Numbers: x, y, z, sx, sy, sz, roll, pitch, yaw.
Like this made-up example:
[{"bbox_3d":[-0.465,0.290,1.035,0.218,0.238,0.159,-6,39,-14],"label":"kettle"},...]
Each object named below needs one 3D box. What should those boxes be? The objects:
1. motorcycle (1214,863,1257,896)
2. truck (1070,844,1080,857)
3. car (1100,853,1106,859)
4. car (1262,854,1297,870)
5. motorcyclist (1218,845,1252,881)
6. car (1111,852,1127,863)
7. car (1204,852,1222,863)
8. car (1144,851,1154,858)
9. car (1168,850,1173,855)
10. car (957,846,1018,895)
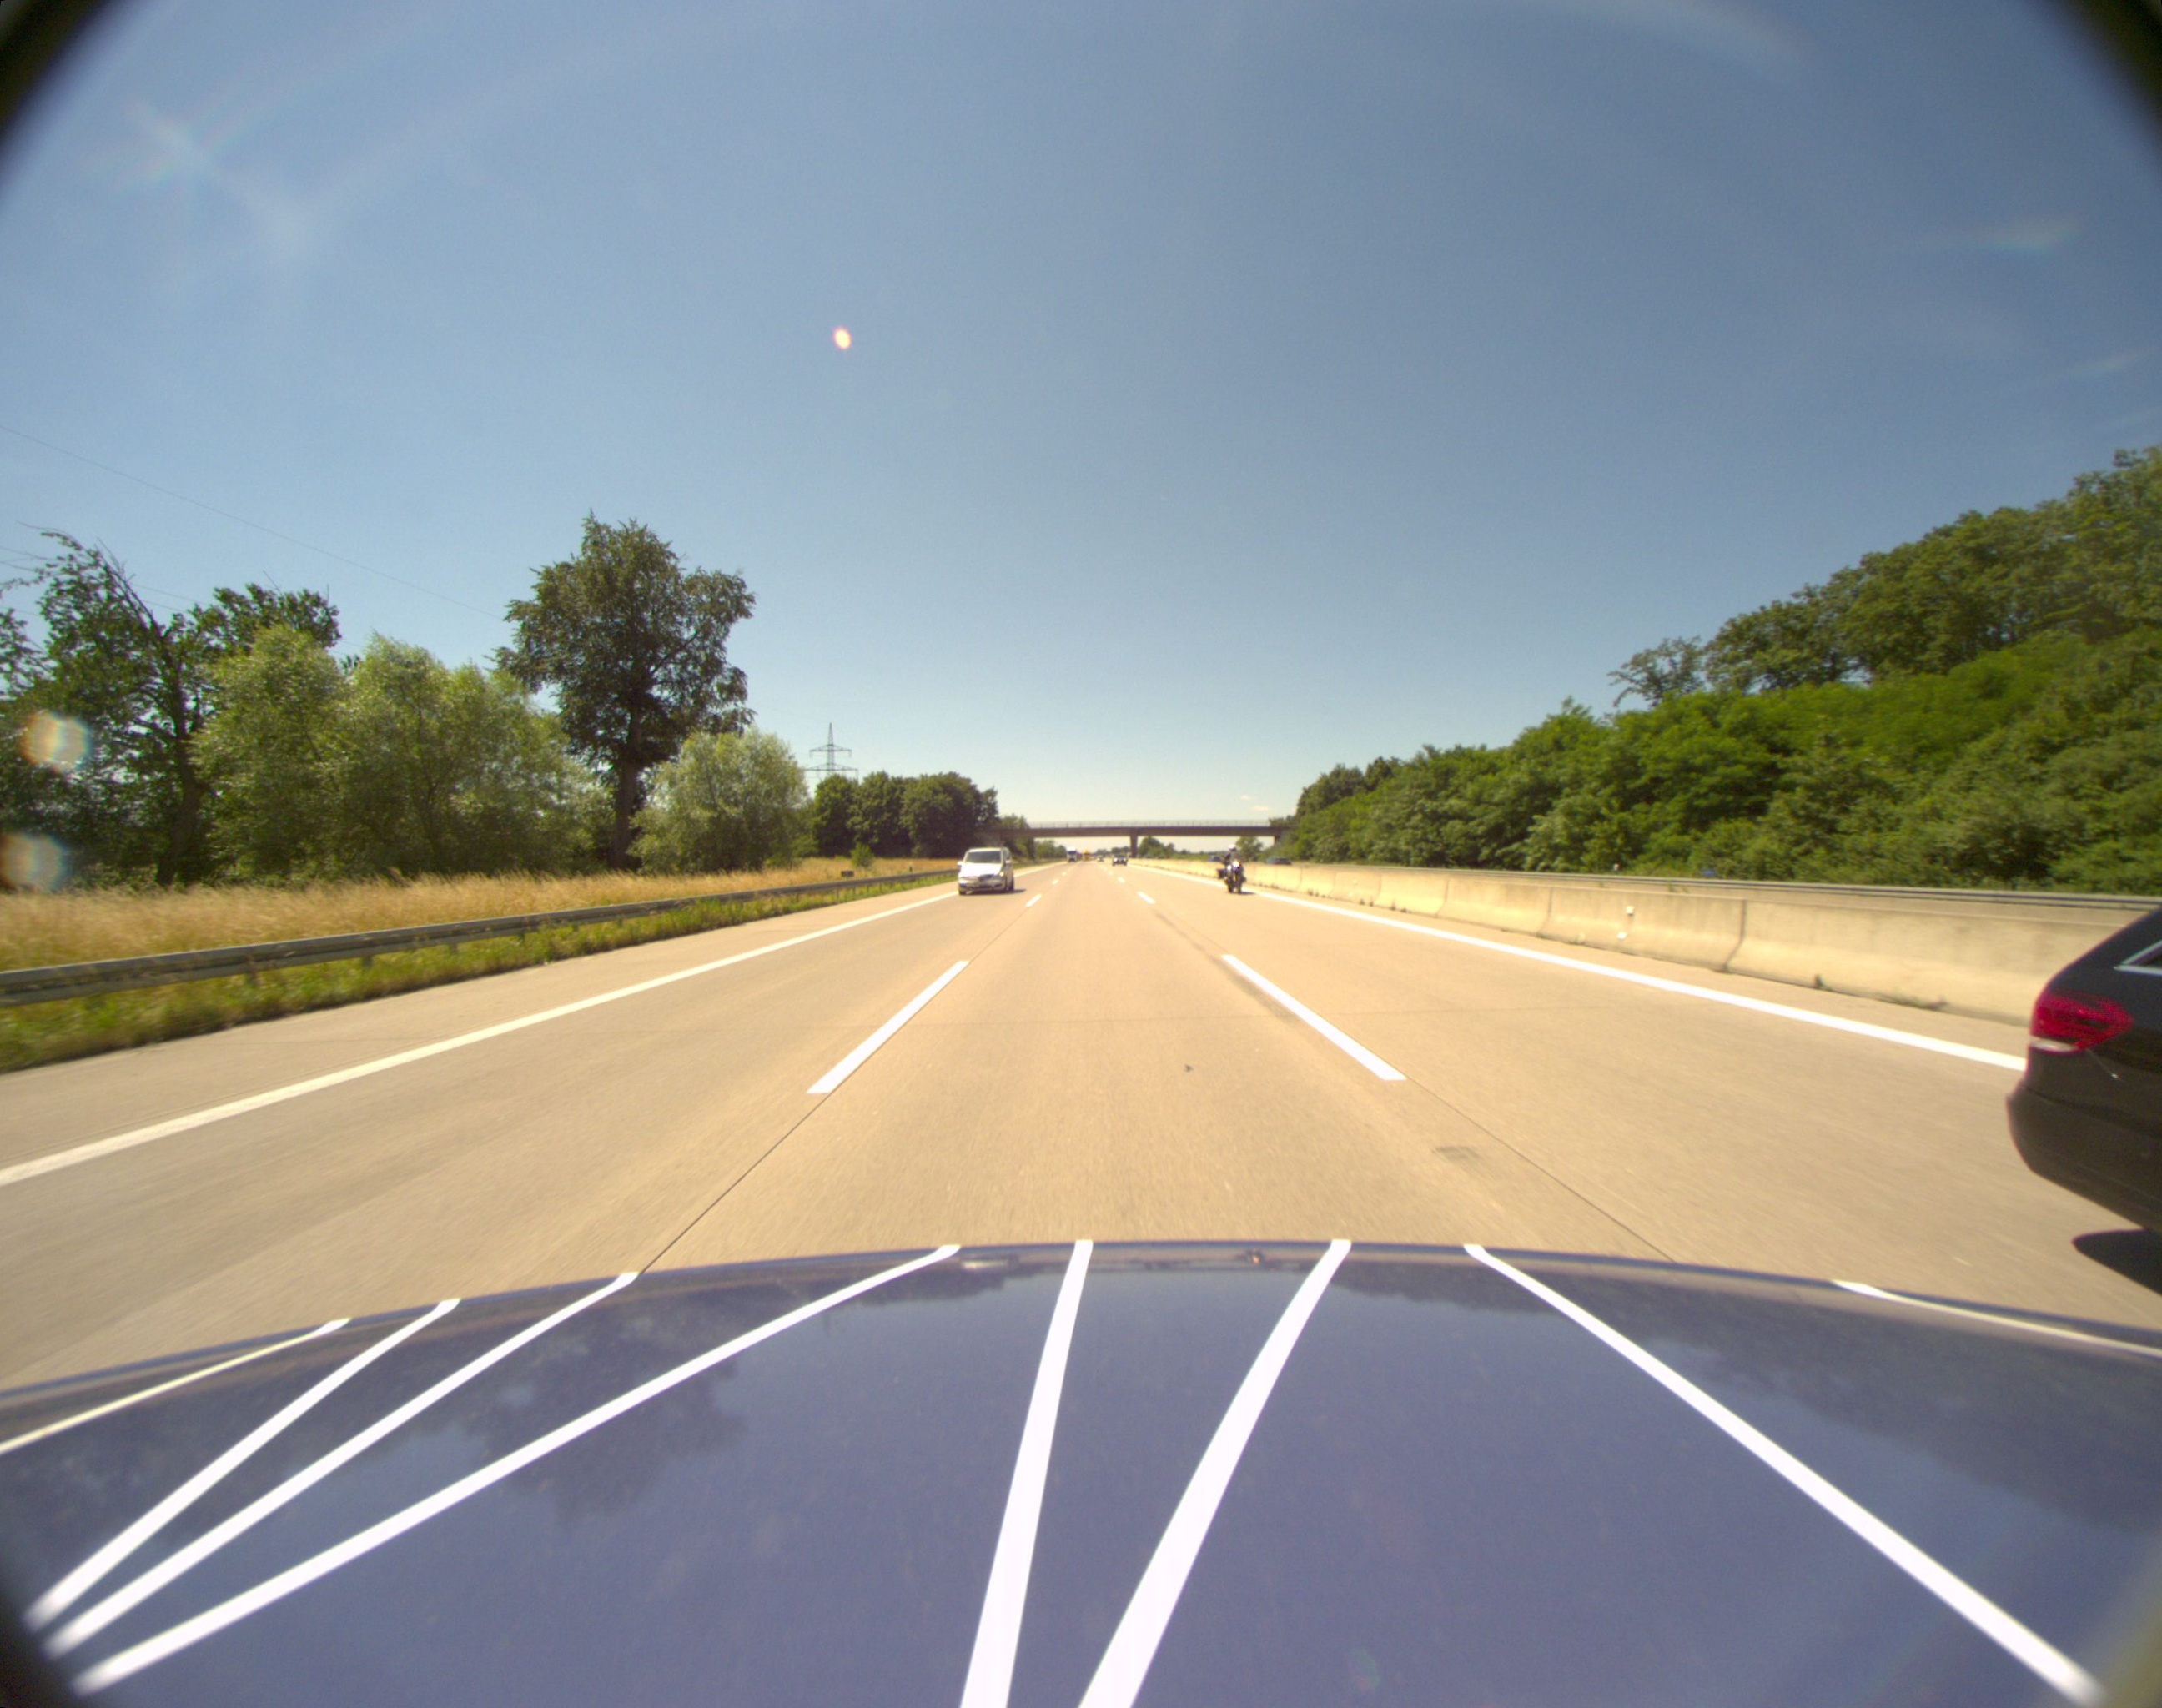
[{"bbox_3d":[5.324,0.859,26.389,1.024,1.042,2.413,-1,0,1],"label":"motorcycle"},{"bbox_3d":[-1.775,-0.909,214.883,2.570,3.514,10.100,-1,0,1],"label":"truck"},{"bbox_3d":[5.652,0.408,197.241,1.586,1.527,3.611,-1,0,0],"label":"car"},{"bbox_3d":[17.226,0.643,66.010,1.681,1.308,4.860,-1,0,-1],"label":"car"},{"bbox_3d":[5.333,0.318,26.371,1.027,1.202,0.911,-1,0,1],"label":"motorcyclist"},{"bbox_3d":[5.004,0.448,101.123,1.998,1.518,4.000,0,1,0],"label":"car"},{"bbox_3d":[18.062,0.491,104.124,1.713,1.377,4.508,-1,0,-1],"label":"car"},{"bbox_3d":[13.508,0.103,150.303,1.703,1.408,4.015,-1,0,1],"label":"car"},{"bbox_3d":[28.602,-0.499,243.001,1.401,1.574,3.102,-1,1,1],"label":"car"},{"bbox_3d":[-3.882,0.666,32.508,1.884,1.878,5.279,-1,0,1],"label":"car"}]
